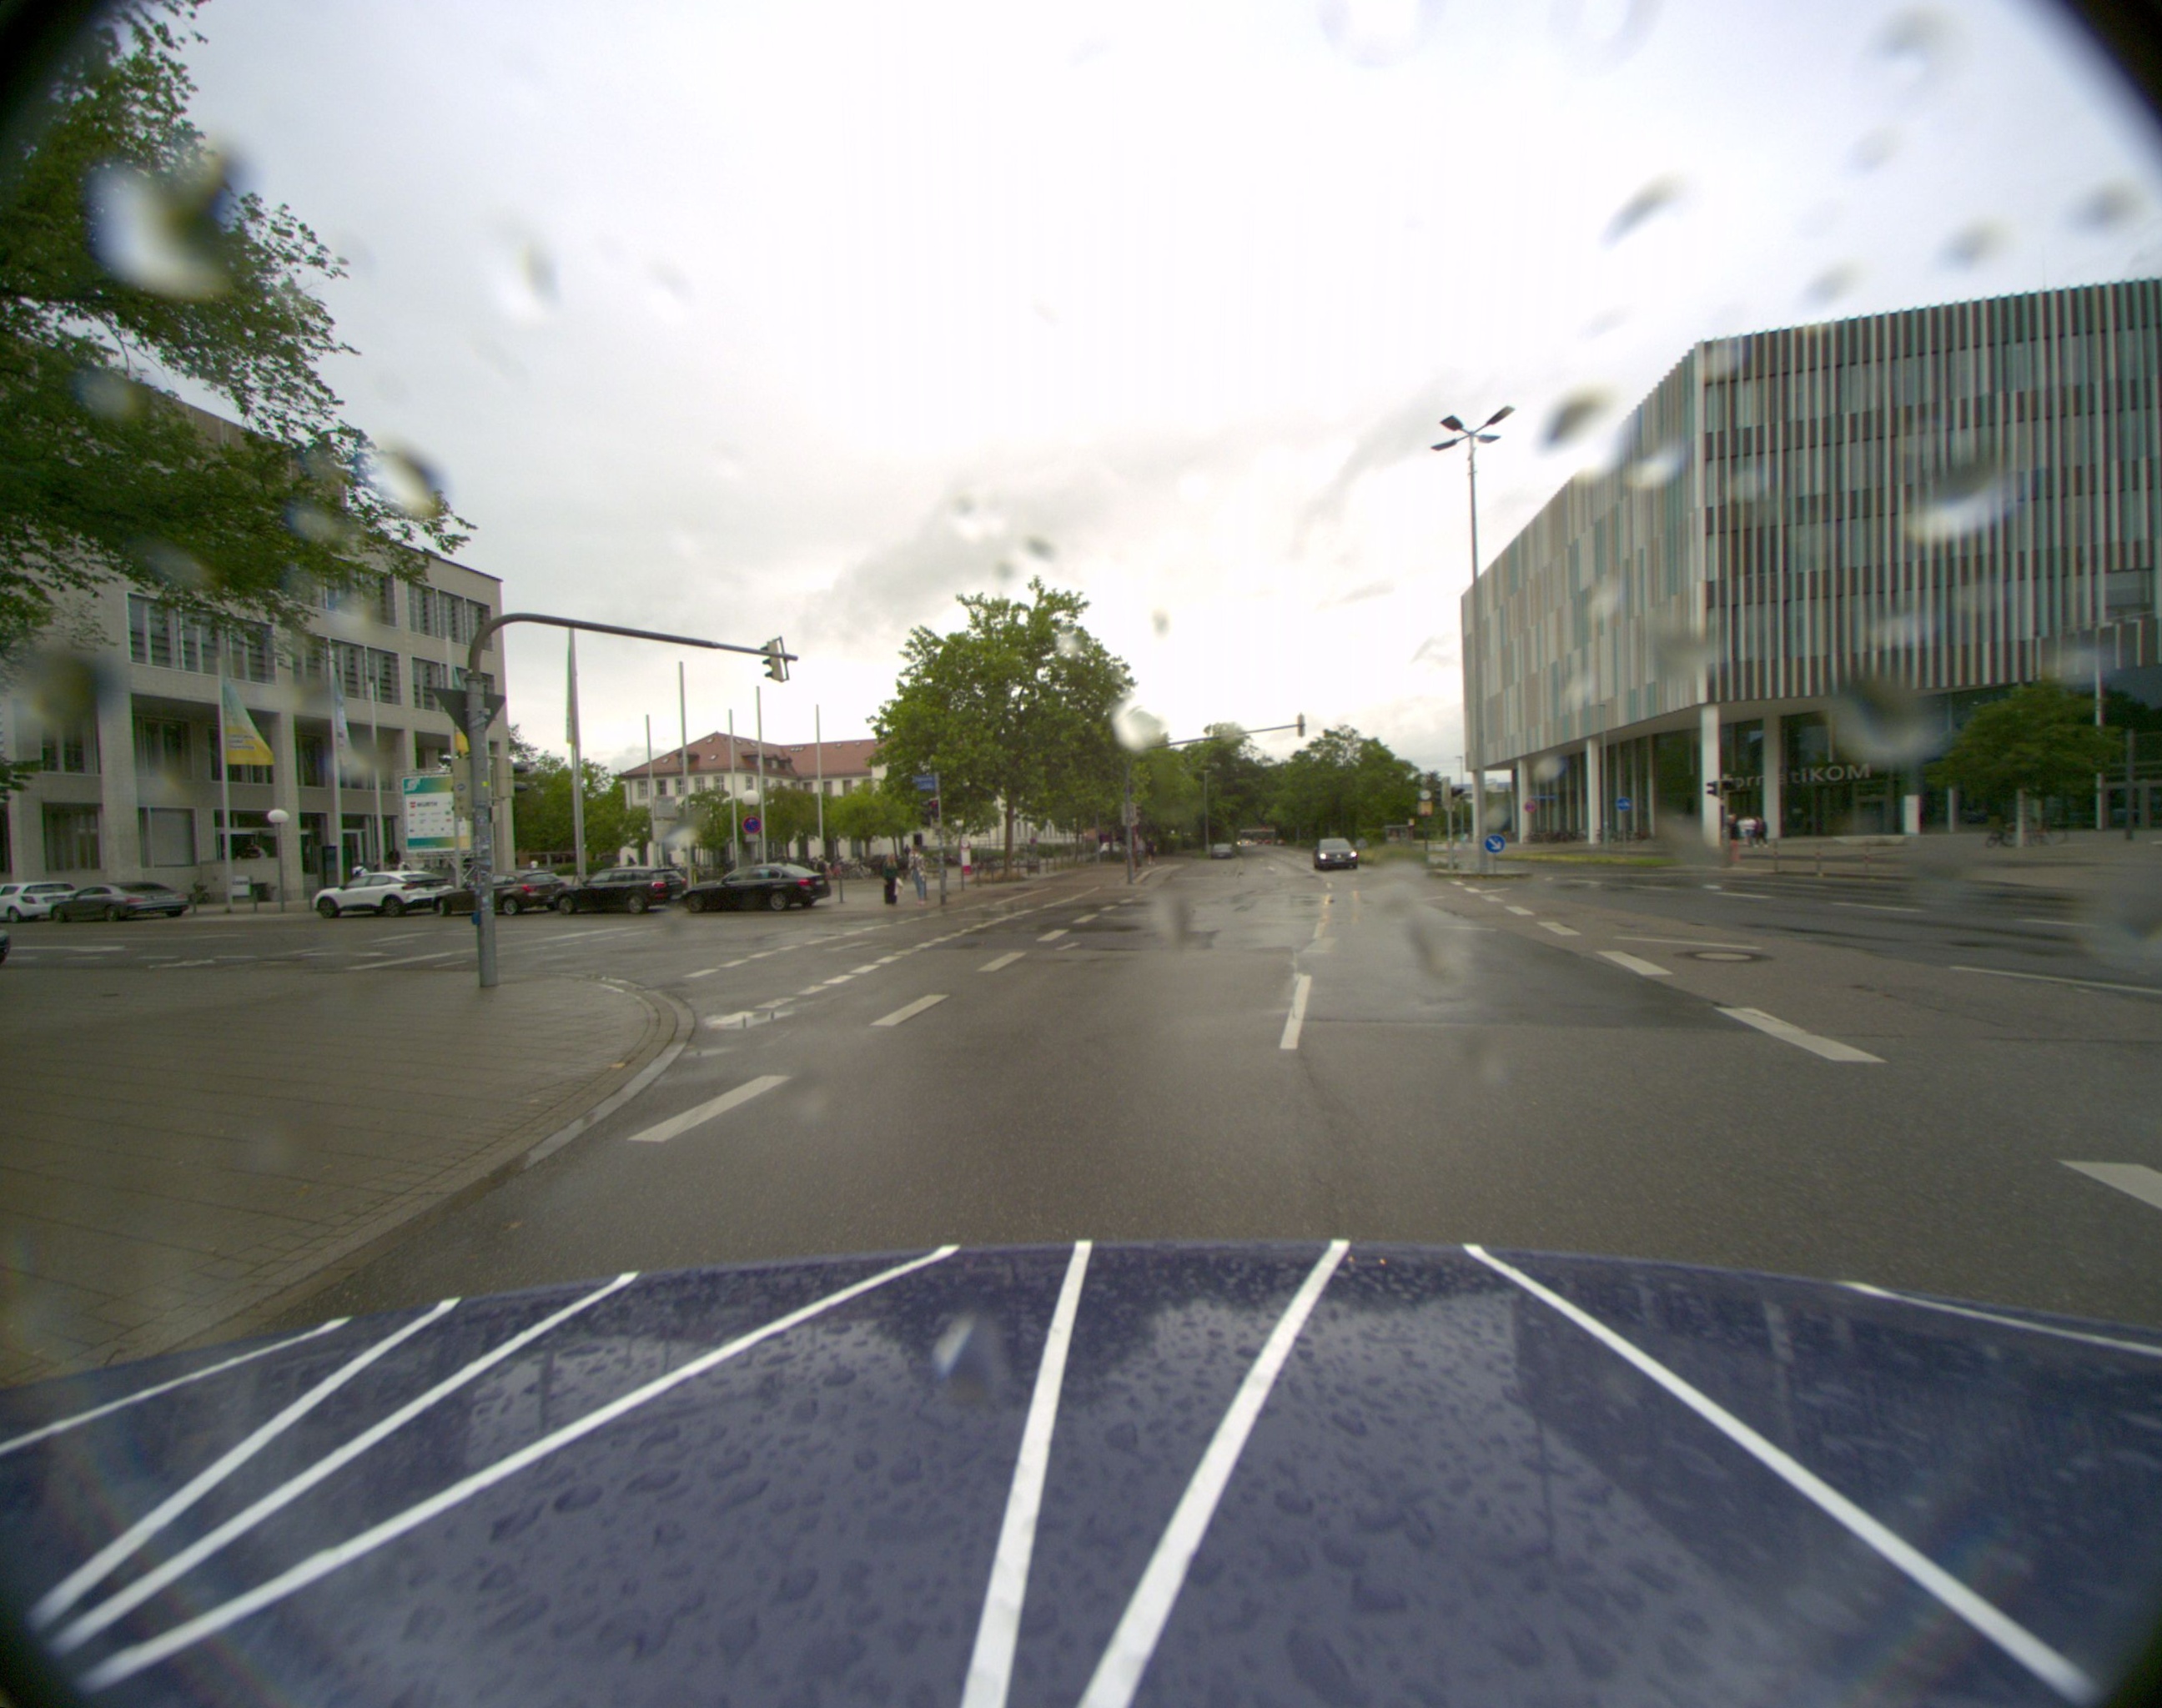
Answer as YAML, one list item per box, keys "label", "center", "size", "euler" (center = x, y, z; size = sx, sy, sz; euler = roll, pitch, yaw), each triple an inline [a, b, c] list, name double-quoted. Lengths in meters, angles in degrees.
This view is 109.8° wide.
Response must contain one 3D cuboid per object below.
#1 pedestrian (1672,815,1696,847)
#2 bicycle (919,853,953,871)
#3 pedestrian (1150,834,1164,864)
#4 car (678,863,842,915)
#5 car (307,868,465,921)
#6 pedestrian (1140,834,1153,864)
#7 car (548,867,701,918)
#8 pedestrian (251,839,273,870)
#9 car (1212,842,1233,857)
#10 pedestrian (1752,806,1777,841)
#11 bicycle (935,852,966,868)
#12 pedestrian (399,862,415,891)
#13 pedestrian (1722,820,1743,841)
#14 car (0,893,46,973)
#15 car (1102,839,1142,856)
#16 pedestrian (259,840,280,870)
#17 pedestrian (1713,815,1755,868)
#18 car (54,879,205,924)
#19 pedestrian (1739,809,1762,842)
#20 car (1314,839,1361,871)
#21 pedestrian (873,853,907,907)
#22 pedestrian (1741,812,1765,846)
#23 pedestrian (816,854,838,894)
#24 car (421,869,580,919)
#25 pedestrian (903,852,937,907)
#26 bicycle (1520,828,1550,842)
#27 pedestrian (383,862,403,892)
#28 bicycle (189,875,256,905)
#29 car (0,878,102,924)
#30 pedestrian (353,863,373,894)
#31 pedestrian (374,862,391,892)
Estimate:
- label: "pedestrian"
  center: [35.272, -1.335, 44.457]
  size: [0.941, 1.814, 0.921]
  euler: [-3, 2, -42]
- label: "bicycle"
  center: [-10.363, 0.562, 54.257]
  size: [2.284, 1.215, 0.599]
  euler: [-2, 1, 2]
- label: "pedestrian"
  center: [4.714, -0.326, 47.061]
  size: [0.625, 1.814, 0.786]
  euler: [-2, 1, -8]
- label: "car"
  center: [-9.989, 1.093, 23.771]
  size: [4.383, 1.330, 1.773]
  euler: [-2, 4, 11]
- label: "car"
  center: [-24.146, 1.391, 26.471]
  size: [4.094, 1.510, 1.773]
  euler: [-2, 4, 9]
- label: "pedestrian"
  center: [4.042, -0.305, 46.920]
  size: [0.624, 1.814, 0.787]
  euler: [-2, 1, 0]
- label: "car"
  center: [-14.694, 1.239, 24.541]
  size: [4.009, 1.371, 1.774]
  euler: [-2, 4, 13]
- label: "pedestrian"
  center: [-40.592, 0.039, 37.664]
  size: [0.567, 1.507, 0.542]
  euler: [-3, 2, -37]
- label: "car"
  center: [13.068, -0.455, 70.005]
  size: [1.659, 1.259, 4.110]
  euler: [-2, 1, 13]
- label: "pedestrian"
  center: [35.677, -1.580, 39.653]
  size: [0.787, 1.814, 0.624]
  euler: [-2, 1, -9]
- label: "bicycle"
  center: [-10.353, 0.478, 60.230]
  size: [2.284, 1.215, 0.599]
  euler: [-2, 1, 2]
- label: "pedestrian"
  center: [-35.935, 1.180, 40.499]
  size: [0.565, 1.507, 0.470]
  euler: [-1, 2, 34]
- label: "pedestrian"
  center: [36.818, -1.318, 42.914]
  size: [0.623, 1.146, 0.788]
  euler: [-2, 1, 16]
- label: "car"
  center: [-23.029, 1.565, 14.701]
  size: [4.094, 1.509, 1.774]
  euler: [0, 1, 8]
- label: "car"
  center: [4.668, -0.744, 86.045]
  size: [4.421, 1.862, 1.639]
  euler: [-2, 1, 6]
- label: "pedestrian"
  center: [-40.947, 0.041, 38.328]
  size: [0.567, 1.507, 0.542]
  euler: [-3, 2, -36]
- label: "pedestrian"
  center: [23.022, -0.451, 26.802]
  size: [0.787, 1.814, 0.795]
  euler: [-2, 1, -9]
- label: "car"
  center: [-35.841, 1.767, 28.664]
  size: [4.093, 1.395, 1.774]
  euler: [-2, 4, 12]
- label: "pedestrian"
  center: [37.624, -1.584, 42.701]
  size: [0.787, 1.814, 0.624]
  euler: [-2, 1, -9]
- label: "car"
  center: [12.229, 0.006, 36.419]
  size: [1.659, 1.357, 4.110]
  euler: [-2, 1, 13]
- label: "pedestrian"
  center: [-5.847, 0.788, 23.339]
  size: [0.877, 1.598, 0.863]
  euler: [-2, 1, -9]
- label: "pedestrian"
  center: [35.898, -1.332, 40.593]
  size: [0.787, 1.814, 0.624]
  euler: [-2, 1, -9]
- label: "pedestrian"
  center: [-11.352, 0.869, 34.028]
  size: [0.850, 1.728, 1.121]
  euler: [-3, 1, -18]
- label: "car"
  center: [-19.497, 1.344, 25.602]
  size: [4.230, 1.391, 1.773]
  euler: [-2, 4, 11]
- label: "pedestrian"
  center: [-4.887, 0.759, 23.131]
  size: [0.877, 1.598, 0.863]
  euler: [-2, 1, -8]
- label: "bicycle"
  center: [41.501, -1.727, 69.505]
  size: [2.280, 1.215, 0.600]
  euler: [-2, 1, 24]
- label: "pedestrian"
  center: [-35.012, 1.171, 38.660]
  size: [0.565, 1.507, 0.544]
  euler: [-1, 2, 34]
- label: "bicycle"
  center: [-40.322, 1.678, 35.696]
  size: [2.964, 1.322, 0.925]
  euler: [-2, 1, 18]
- label: "car"
  center: [-41.216, 1.843, 29.748]
  size: [4.093, 1.510, 1.774]
  euler: [-2, 4, 12]
- label: "pedestrian"
  center: [-35.543, 1.204, 37.624]
  size: [0.565, 1.507, 0.544]
  euler: [-1, 2, 34]
- label: "pedestrian"
  center: [-36.062, 1.199, 39.204]
  size: [0.565, 1.507, 0.470]
  euler: [-1, 2, 34]
